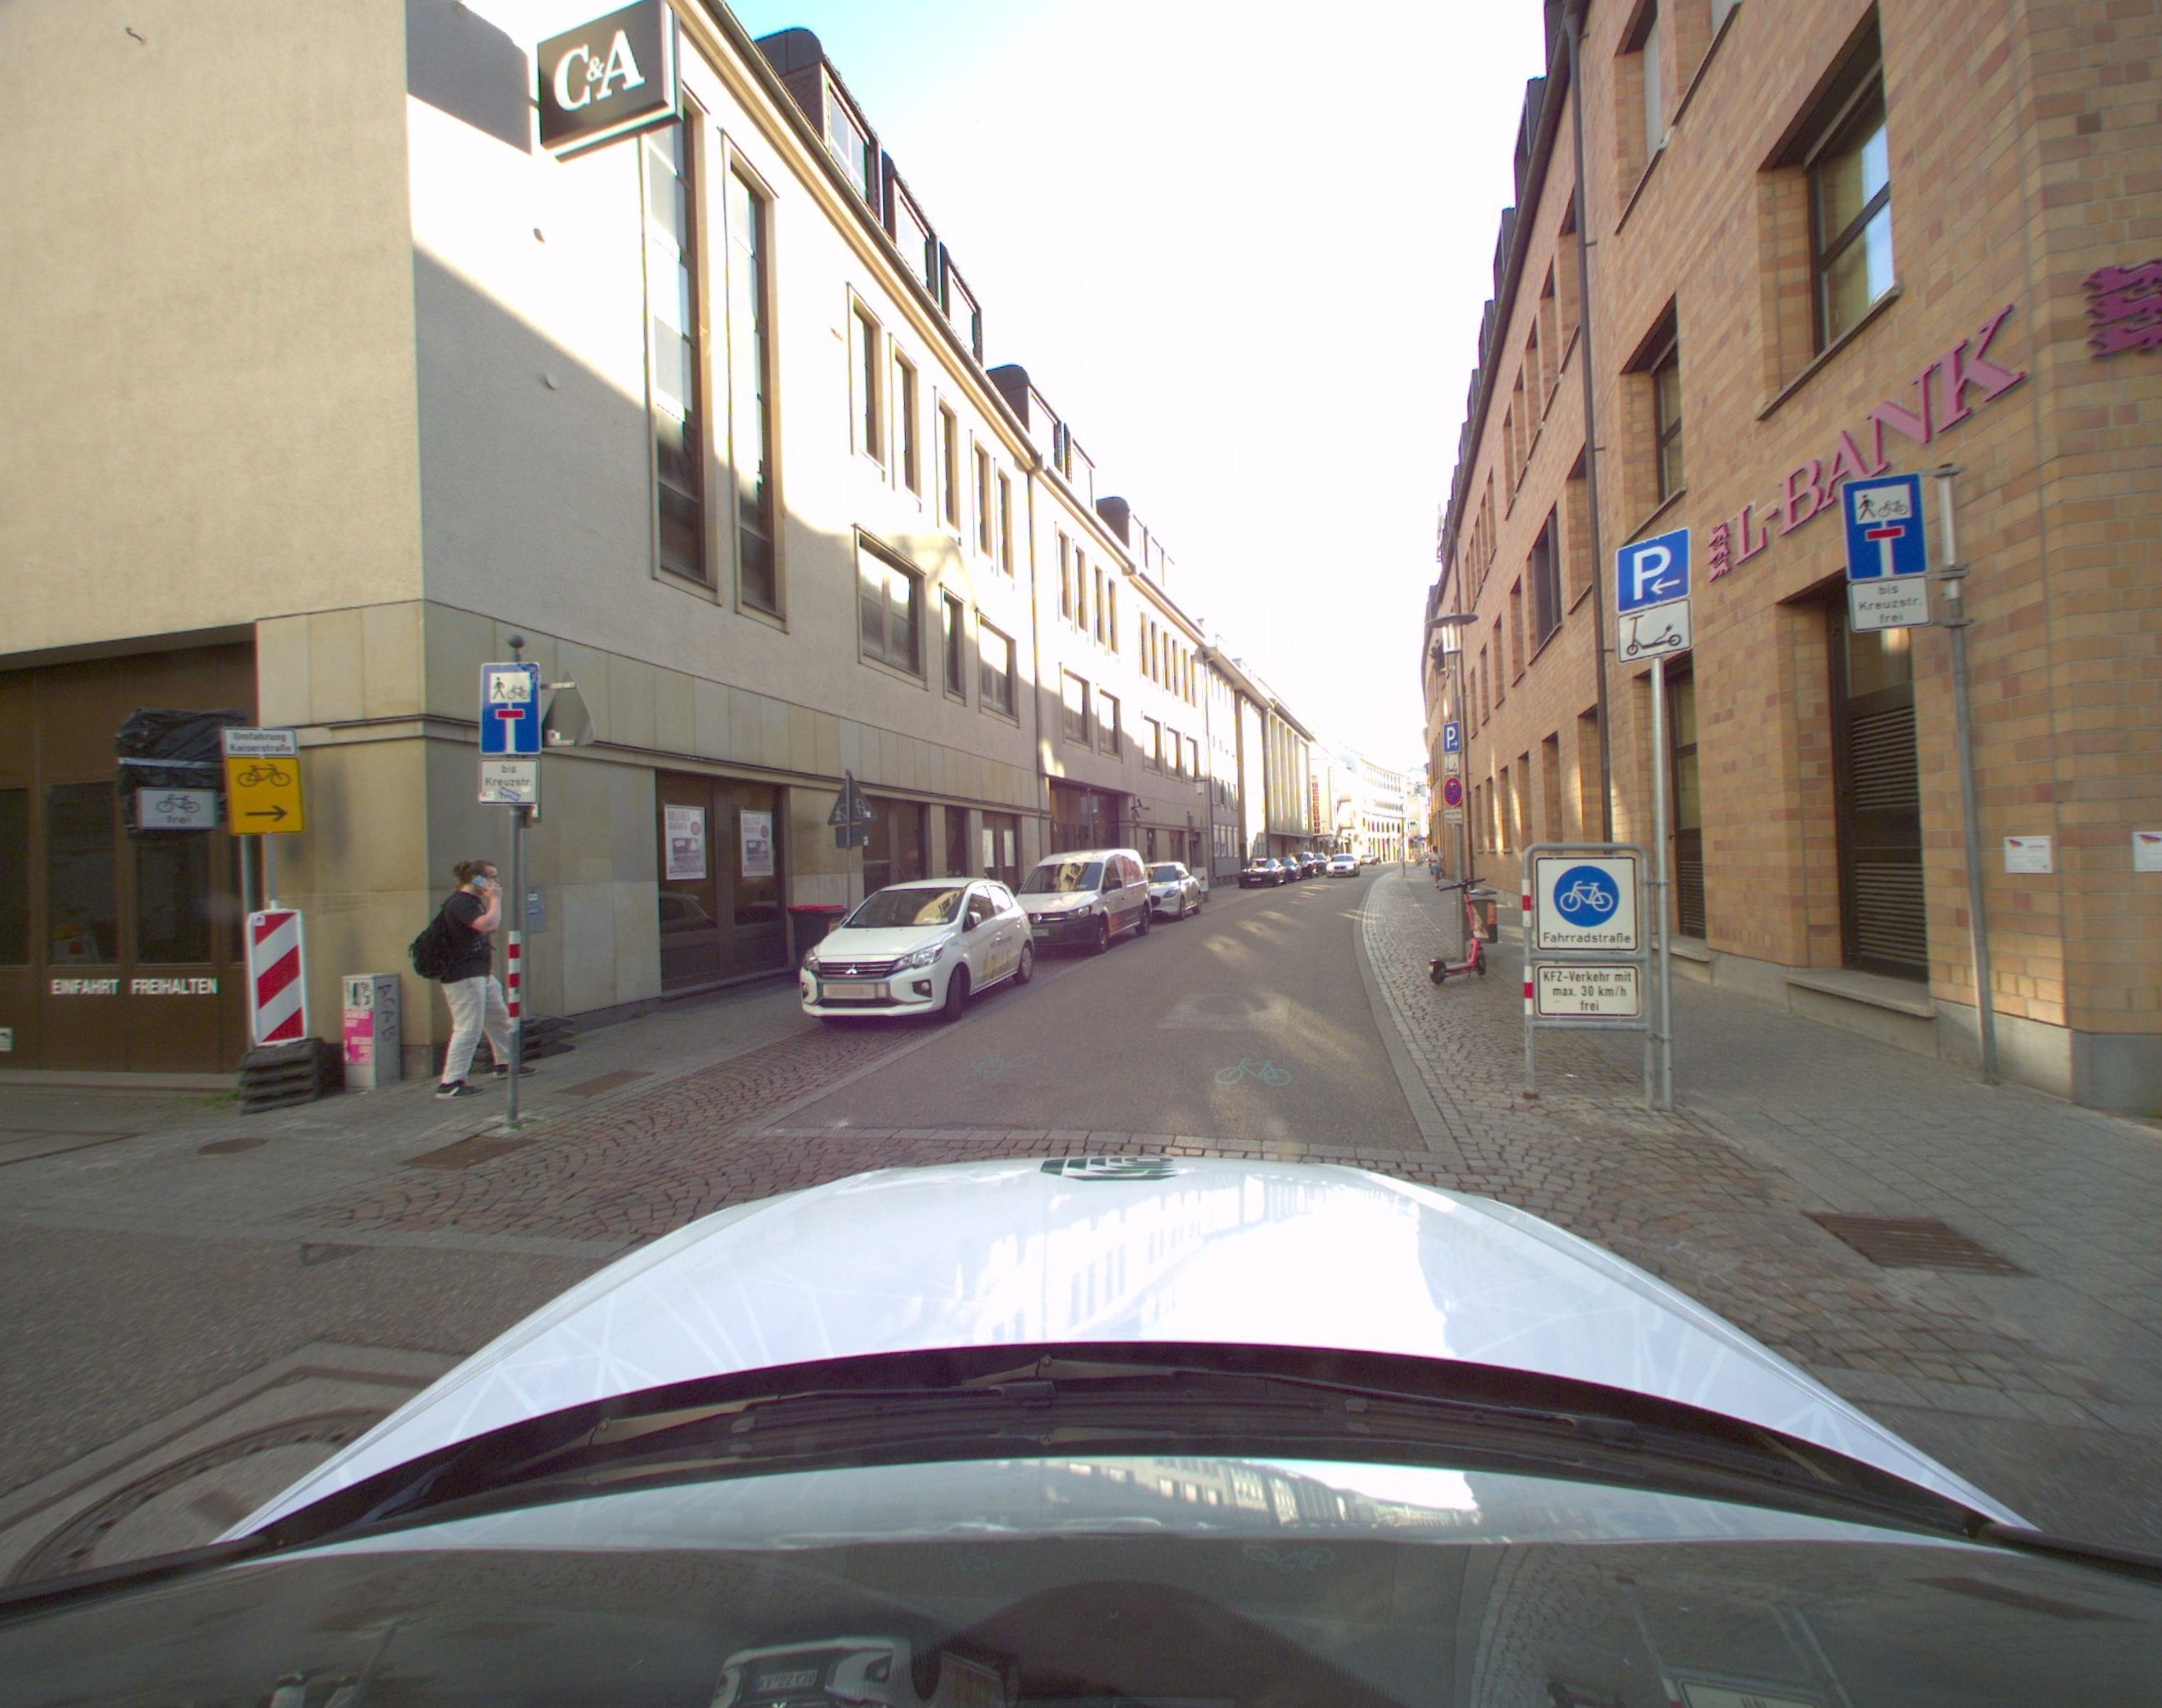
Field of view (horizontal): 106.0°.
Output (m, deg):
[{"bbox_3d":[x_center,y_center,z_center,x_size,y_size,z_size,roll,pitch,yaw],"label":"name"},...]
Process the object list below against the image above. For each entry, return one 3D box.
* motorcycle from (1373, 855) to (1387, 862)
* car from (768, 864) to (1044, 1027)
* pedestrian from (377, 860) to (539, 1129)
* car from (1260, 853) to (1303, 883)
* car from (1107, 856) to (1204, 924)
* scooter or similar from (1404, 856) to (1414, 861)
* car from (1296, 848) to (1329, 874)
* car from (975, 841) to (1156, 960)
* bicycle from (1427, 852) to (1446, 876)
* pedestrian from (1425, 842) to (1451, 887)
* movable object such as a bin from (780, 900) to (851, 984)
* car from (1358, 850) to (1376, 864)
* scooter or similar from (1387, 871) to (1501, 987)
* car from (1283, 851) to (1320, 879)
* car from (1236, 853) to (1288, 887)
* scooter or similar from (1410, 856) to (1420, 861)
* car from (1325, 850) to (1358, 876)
[{"bbox_3d":[39.629,0.597,107.884,1.675,0.859,0.598,0,-1,28],"label":"motorcycle"},{"bbox_3d":[-1.842,0.941,9.893,1.725,1.492,3.813,-4,-1,13],"label":"car"},{"bbox_3d":[-4.725,1.003,6.244,0.864,1.855,0.709,-2,-2,-31],"label":"pedestrian"},{"bbox_3d":[11.634,0.784,47.061,1.874,1.530,4.362,-3,-1,20],"label":"car"},{"bbox_3d":[2.065,0.882,21.611,1.656,1.522,3.793,-5,-1,18],"label":"car"},{"bbox_3d":[56.211,0.767,139.449,2.237,0.928,0.521,-1,0,-36],"label":"scooter or similar"},{"bbox_3d":[16.874,0.475,59.267,1.874,1.742,4.413,-3,-1,20],"label":"car"},{"bbox_3d":[-0.073,0.770,15.578,1.884,1.857,4.756,-4,-1,18],"label":"car"},{"bbox_3d":[17.627,0.468,40.421,0.545,1.103,1.991,-6,-2,18],"label":"bicycle"},{"bbox_3d":[14.174,0.409,32.364,0.754,1.716,0.825,-4,-1,20],"label":"pedestrian"},{"bbox_3d":[-3.706,1.208,11.411,0.731,1.101,0.593,0,-1,14],"label":"movable object such as a bin"},{"bbox_3d":[35.670,0.338,101.511,1.721,1.606,3.553,-1,0,24],"label":"car"},{"bbox_3d":[4.344,0.852,9.714,1.424,1.235,0.533,-2,0,-33],"label":"scooter or similar"},{"bbox_3d":[14.317,0.678,52.737,1.874,1.676,4.577,-3,-1,20],"label":"car"},{"bbox_3d":[9.249,0.788,41.276,1.874,1.530,4.753,-3,-1,20],"label":"car"},{"bbox_3d":[58.914,0.799,143.598,2.237,0.928,0.521,-1,0,-36],"label":"scooter or similar"},{"bbox_3d":[16.390,0.529,51.071,1.700,1.517,4.181,-3,-1,20],"label":"car"}]
